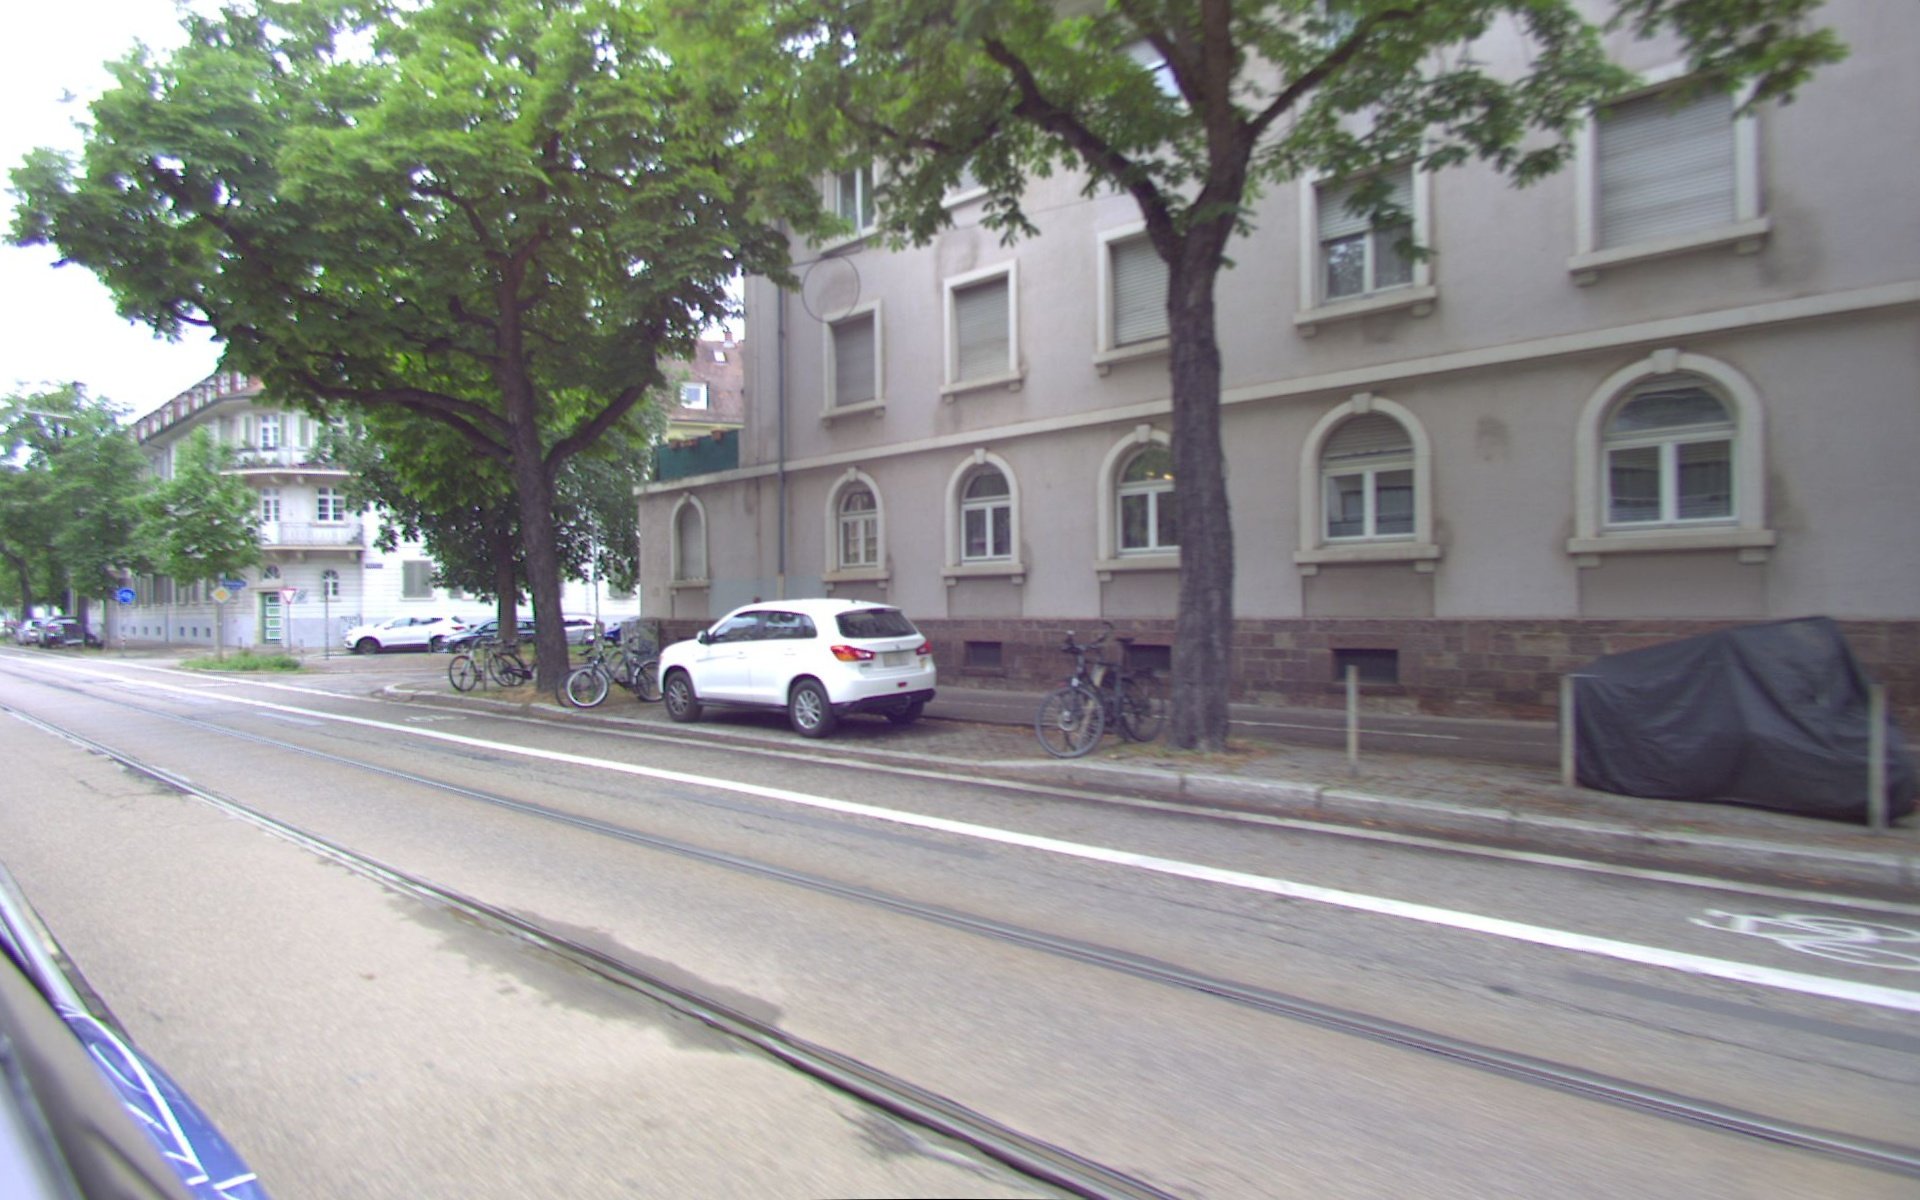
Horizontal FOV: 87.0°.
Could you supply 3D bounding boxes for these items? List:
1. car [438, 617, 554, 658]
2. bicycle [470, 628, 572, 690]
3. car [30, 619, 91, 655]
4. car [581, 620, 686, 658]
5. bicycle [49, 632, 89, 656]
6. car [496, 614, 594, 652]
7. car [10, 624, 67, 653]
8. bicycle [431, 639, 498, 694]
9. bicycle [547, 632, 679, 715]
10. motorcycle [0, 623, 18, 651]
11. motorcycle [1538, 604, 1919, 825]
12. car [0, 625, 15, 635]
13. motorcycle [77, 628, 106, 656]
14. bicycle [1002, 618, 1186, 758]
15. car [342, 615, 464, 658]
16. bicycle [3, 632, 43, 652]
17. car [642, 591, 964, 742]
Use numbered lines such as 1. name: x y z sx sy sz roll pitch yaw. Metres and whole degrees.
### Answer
1. car: -18.082 1.451 39.641 4.000 1.421 1.667 -1 0 -20
2. bicycle: -8.439 1.136 19.445 1.925 1.144 0.671 -2 -2 25
3. car: -46.031 1.875 51.748 4.292 1.673 1.818 -2 1 42
4. car: -13.427 1.582 41.586 3.940 1.356 1.671 -1 0 -23
5. bicycle: -42.801 2.119 48.617 1.360 1.012 0.930 -4 2 -45
6. car: -18.529 1.448 45.274 3.978 1.524 1.744 -1 0 -22
7. car: -51.843 2.150 56.888 4.611 1.477 1.793 -2 0 41
8. bicycle: -9.238 1.225 18.846 1.394 0.965 0.479 -1 -1 34
9. bicycle: -5.464 1.127 16.043 0.623 1.129 1.903 -2 1 41
10. motorcycle: -58.051 2.269 61.665 0.822 1.655 2.483 0 -1 -41
11. motorcycle: 5.470 0.696 7.059 0.852 1.298 2.327 -1 0 -36
12. car: -145.494 4.549 153.807 1.731 1.510 4.013 1 -1 -27
13. motorcycle: -40.400 1.944 47.075 2.137 1.267 0.535 -1 -1 35
14. bicycle: 1.348 0.846 10.063 1.720 1.201 0.654 -3 -4 -35
15. car: -23.685 1.528 43.227 4.438 1.675 1.945 -1 -1 -24
16. bicycle: -58.700 2.643 63.410 1.718 1.137 0.519 -3 0 -31
17. car: -2.177 0.775 13.336 4.222 1.668 1.878 -1 0 40
